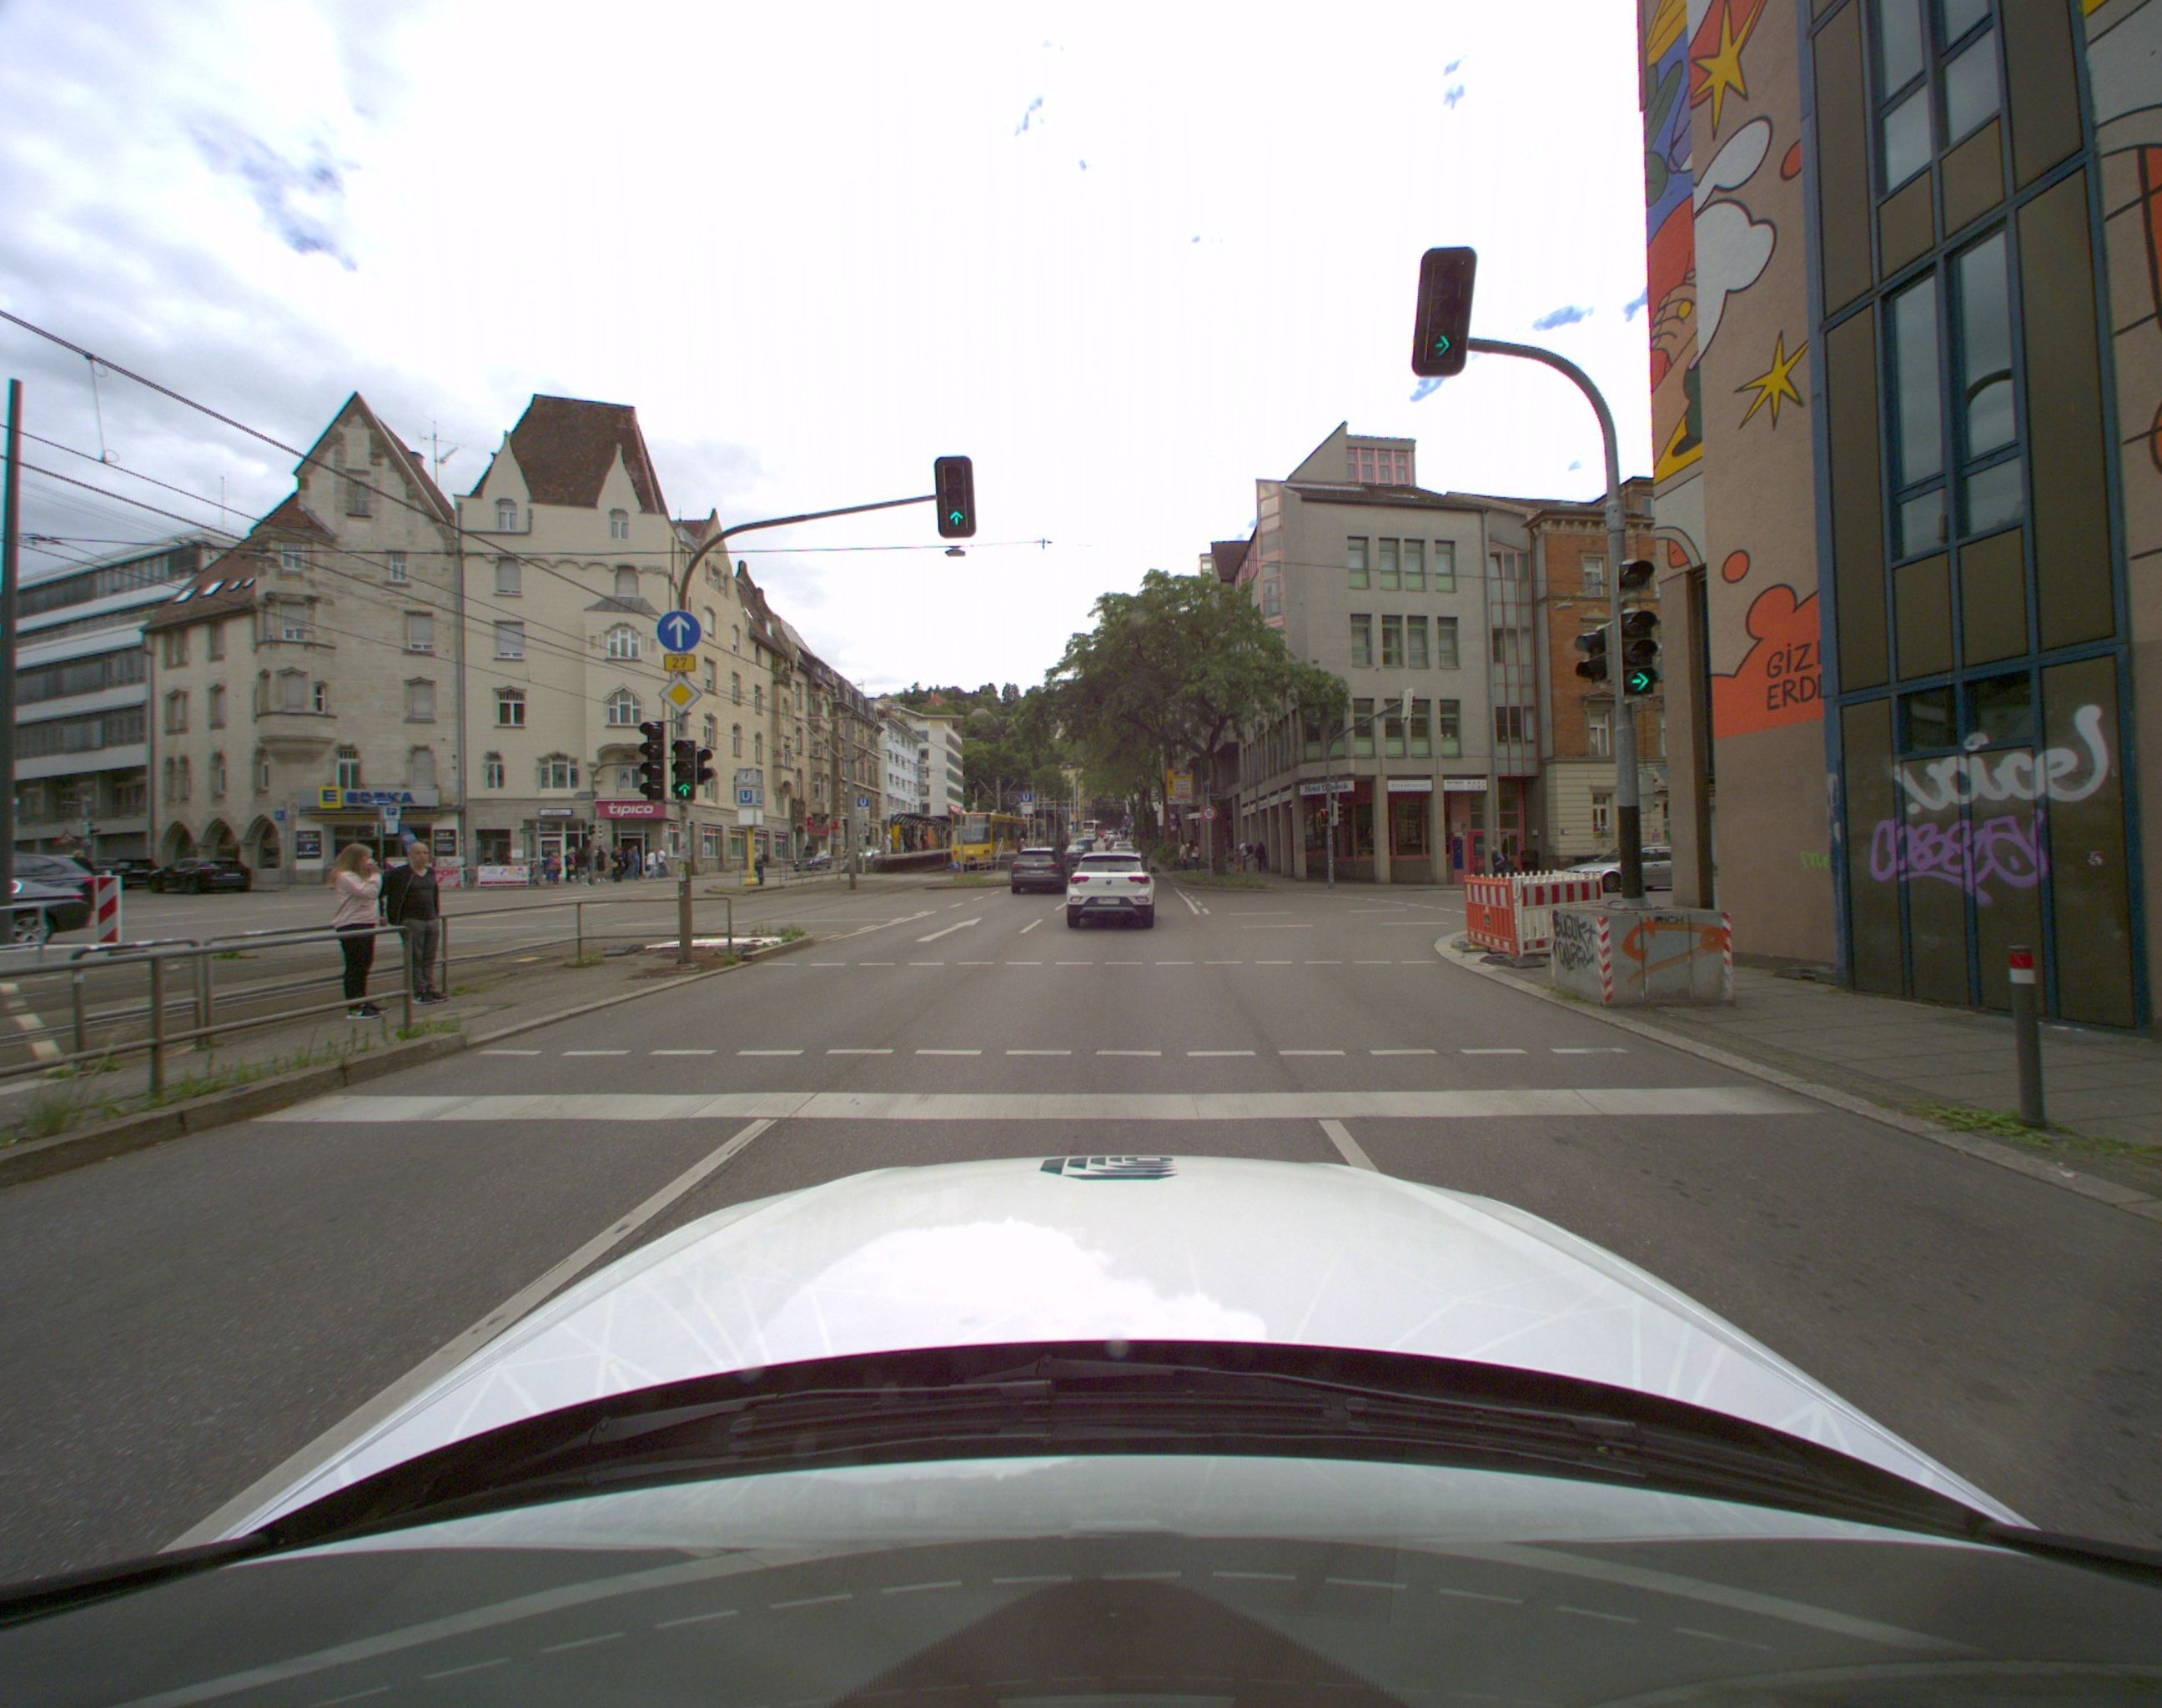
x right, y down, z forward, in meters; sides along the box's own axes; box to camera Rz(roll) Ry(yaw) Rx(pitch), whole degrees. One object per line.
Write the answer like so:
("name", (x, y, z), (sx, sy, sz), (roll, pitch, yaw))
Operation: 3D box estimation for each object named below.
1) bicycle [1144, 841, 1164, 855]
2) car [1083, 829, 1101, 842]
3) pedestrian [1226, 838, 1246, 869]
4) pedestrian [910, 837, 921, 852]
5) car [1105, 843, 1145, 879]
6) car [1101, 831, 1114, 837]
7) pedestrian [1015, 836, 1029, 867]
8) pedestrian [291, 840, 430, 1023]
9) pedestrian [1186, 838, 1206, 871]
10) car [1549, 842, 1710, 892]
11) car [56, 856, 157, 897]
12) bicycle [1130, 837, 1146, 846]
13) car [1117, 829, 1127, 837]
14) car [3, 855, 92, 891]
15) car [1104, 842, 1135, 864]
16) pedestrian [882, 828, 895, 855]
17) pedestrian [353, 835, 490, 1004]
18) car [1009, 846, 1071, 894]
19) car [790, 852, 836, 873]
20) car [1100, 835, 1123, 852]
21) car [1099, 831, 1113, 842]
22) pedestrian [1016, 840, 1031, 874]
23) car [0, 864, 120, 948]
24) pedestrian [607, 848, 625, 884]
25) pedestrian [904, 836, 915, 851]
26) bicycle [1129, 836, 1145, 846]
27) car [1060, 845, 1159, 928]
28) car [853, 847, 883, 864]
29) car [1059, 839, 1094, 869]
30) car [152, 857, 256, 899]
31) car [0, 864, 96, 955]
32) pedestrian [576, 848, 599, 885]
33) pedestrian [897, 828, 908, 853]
("bicycle", (6.095, -0.506, 68.390), (1.612, 1.128, 0.614), (-3, 1, 5))
("car", (1.781, -2.809, 125.805), (2.353, 2.013, 5.155), (0, 0, 5))
("pedestrian", (7.961, -0.019, 41.790), (0.833, 1.563, 0.764), (0, 0, -3))
("pedestrian", (-12.502, -0.750, 61.629), (0.633, 1.107, 0.690), (-1, 1, 1))
("car", (2.131, 0.317, 40.345), (1.878, 1.684, 4.162), (0, 0, 1))
("car", (5.016, -3.755, 154.553), (1.570, 1.172, 3.695), (0, 0, 17))
("pedestrian", (-3.304, -0.133, 45.407), (0.683, 1.711, 0.712), (-1, 1, 1))
("pedestrian", (-7.063, 0.732, 8.015), (0.762, 1.721, 0.638), (-1, 0, 1))
("pedestrian", (6.094, 0.031, 43.162), (0.834, 1.703, 0.764), (-3, 1, -3))
("car", (17.390, 0.373, 25.901), (4.149, 1.428, 1.848), (-1, 1, -11))
("car", (-46.870, 1.095, 39.174), (3.742, 1.745, 1.644), (-3, 0, 16))
("bicycle", (7.112, -1.575, 101.846), (1.870, 1.137, 0.810), (0, 0, 7))
("car", (8.913, -4.601, 176.738), (1.874, 1.684, 4.171), (0, 0, 8))
("car", (-56.662, 1.030, 44.646), (3.742, 1.745, 1.644), (-3, 0, 16))
("car", (2.906, -0.102, 62.935), (1.882, 1.684, 4.154), (0, 0, -5))
("pedestrian", (-12.568, -0.825, 53.153), (0.685, 1.711, 0.662), (-1, 1, 1))
("pedestrian", (-7.042, 0.670, 8.735), (0.789, 1.721, 0.773), (-1, 0, 1))
("car", (-1.456, 0.545, 30.275), (1.986, 1.635, 4.001), (-1, 1, 1))
("car", (-19.218, 0.604, 58.556), (1.623, 1.375, 3.790), (-3, 0, 6))
("car", (3.676, -1.257, 98.545), (2.359, 2.013, 5.142), (0, 0, -3))
("car", (4.042, -2.861, 132.555), (1.880, 1.684, 4.157), (0, 0, -3))
("pedestrian", (-2.924, 0.162, 41.672), (0.633, 1.711, 0.872), (-1, 1, 1))
("car", (-23.824, 1.121, 17.032), (1.667, 1.759, 4.784), (0, 0, 2))
("pedestrian", (-23.153, 0.585, 40.547), (0.506, 1.779, 0.579), (-1, 0, 16))
("pedestrian", (-12.688, -0.773, 60.189), (0.633, 1.107, 0.690), (-1, 1, 1))
("bicycle", (6.896, -1.578, 100.358), (1.868, 1.266, 0.767), (0, 0, 12))
("car", (0.749, 0.617, 17.933), (1.828, 1.583, 4.165), (-1, 1, 6))
("car", (-18.922, 0.122, 72.373), (1.552, 1.523, 3.603), (0, 0, 3))
("car", (-0.243, -0.050, 50.820), (1.903, 1.689, 4.005), (0, 2, 4))
("car", (-40.017, 1.092, 37.178), (3.742, 1.684, 1.644), (-3, 0, 16))
("car", (-19.910, 1.018, 13.379), (1.648, 1.552, 4.544), (-1, 1, 7))
("pedestrian", (-24.081, 0.624, 39.752), (0.704, 1.779, 0.598), (-1, 0, 17))
("pedestrian", (-12.520, -0.931, 57.149), (0.635, 1.711, 0.688), (-1, 1, -7))
